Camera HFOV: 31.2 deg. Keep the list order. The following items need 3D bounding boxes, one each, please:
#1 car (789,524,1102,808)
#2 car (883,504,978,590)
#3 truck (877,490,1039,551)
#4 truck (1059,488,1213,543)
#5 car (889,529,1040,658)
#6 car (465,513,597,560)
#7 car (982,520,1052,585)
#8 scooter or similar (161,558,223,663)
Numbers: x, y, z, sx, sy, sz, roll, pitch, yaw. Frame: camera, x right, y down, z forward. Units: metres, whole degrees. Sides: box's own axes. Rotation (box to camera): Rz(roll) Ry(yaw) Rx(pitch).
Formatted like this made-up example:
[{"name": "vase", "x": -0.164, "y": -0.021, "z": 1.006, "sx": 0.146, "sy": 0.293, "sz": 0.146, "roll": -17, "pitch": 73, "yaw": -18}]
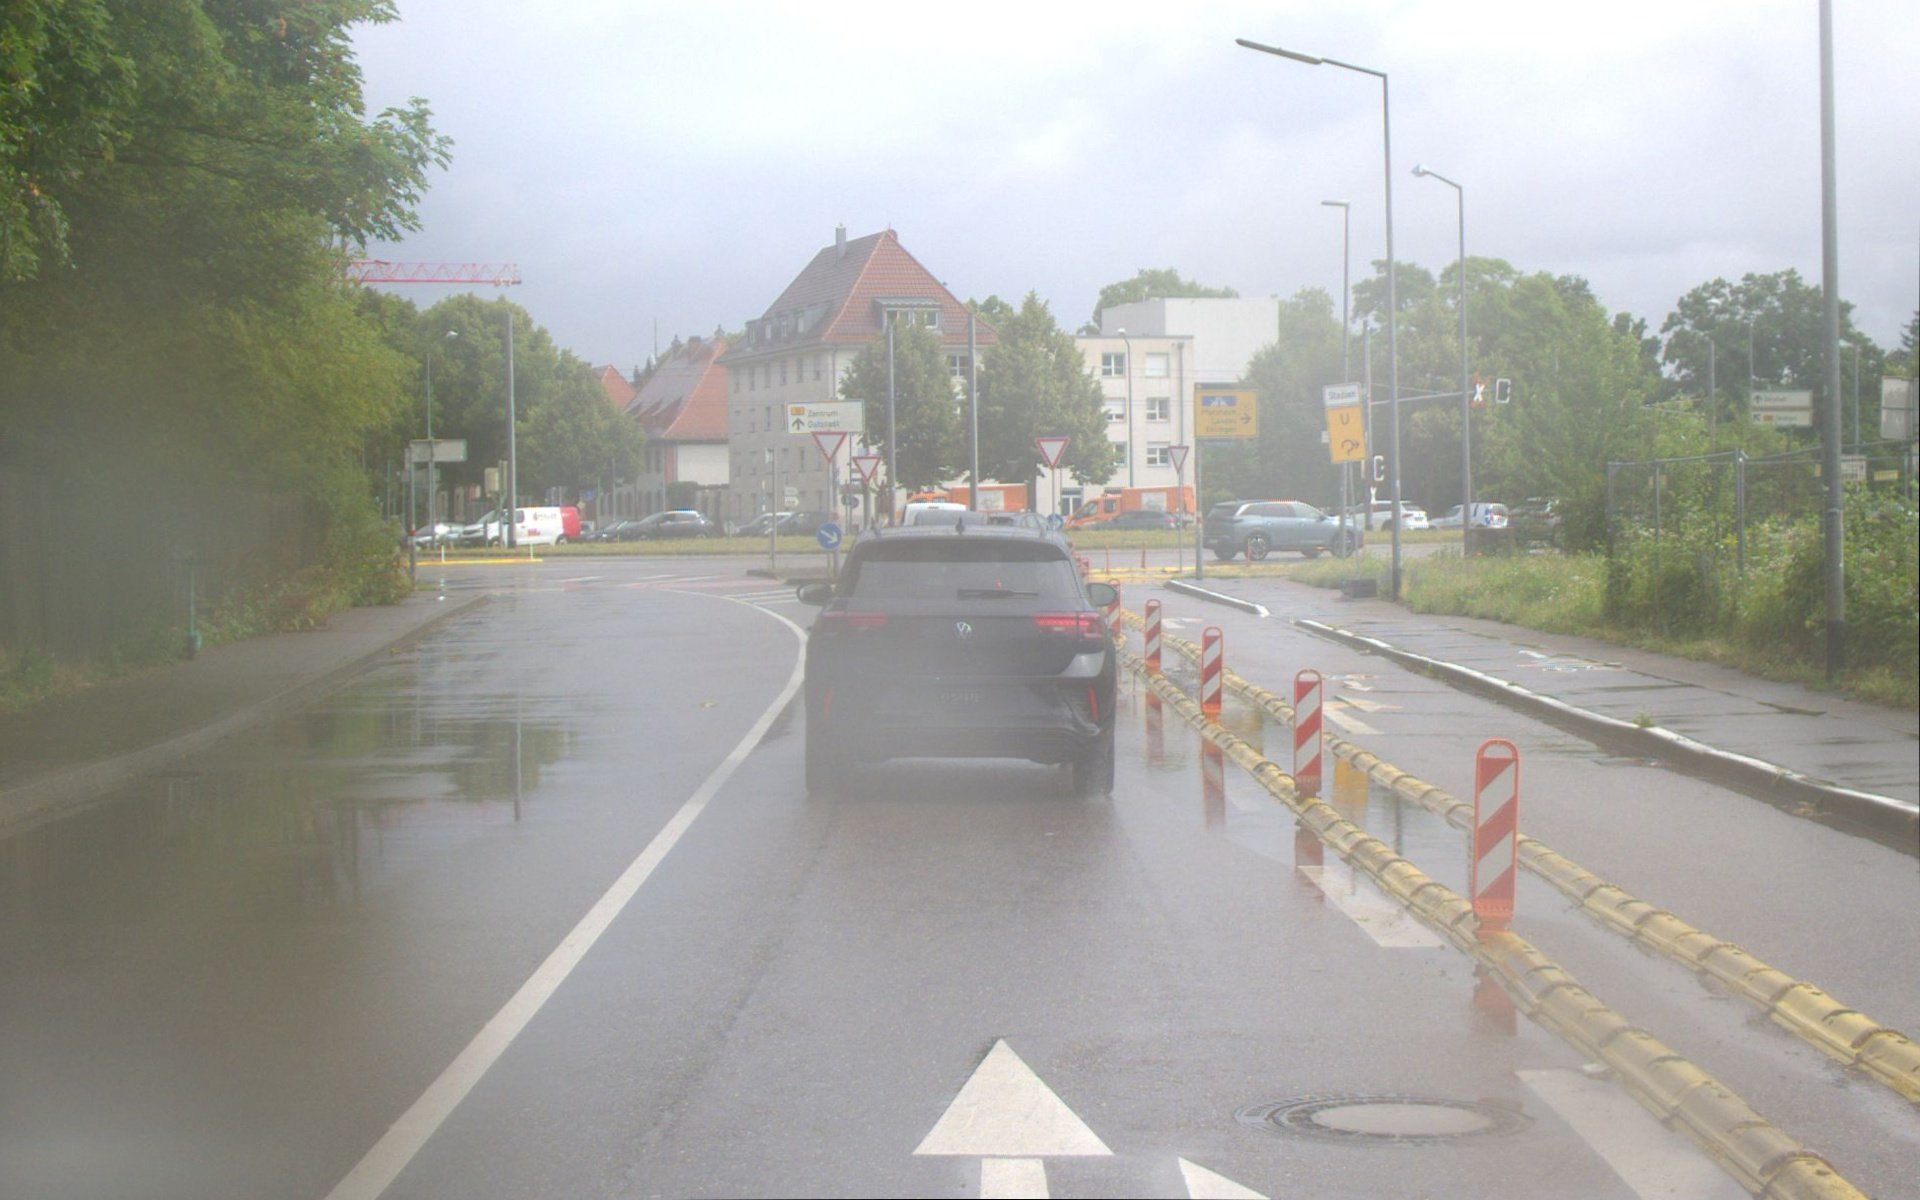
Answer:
[{"name": "car", "x": -0.170, "y": 0.336, "z": 20.893, "sx": 1.708, "sy": 1.568, "sz": 3.683, "roll": 0, "pitch": 1, "yaw": -3}, {"name": "car", "x": -0.676, "y": -1.172, "z": 74.631, "sx": 1.864, "sy": 1.803, "sz": 4.404, "roll": 0, "pitch": 1, "yaw": -3}, {"name": "truck", "x": -0.080, "y": -3.518, "z": 151.451, "sx": 7.066, "sy": 2.641, "sz": 2.330, "roll": 0, "pitch": 1, "yaw": 2}, {"name": "truck", "x": 8.131, "y": -3.898, "z": 158.834, "sx": 6.707, "sy": 2.434, "sz": 2.432, "roll": -1, "pitch": 1, "yaw": 16}, {"name": "car", "x": 0.017, "y": -0.115, "z": 42.850, "sx": 1.735, "sy": 1.509, "sz": 3.604, "roll": 0, "pitch": 1, "yaw": -2}, {"name": "car", "x": -17.897, "y": -2.645, "z": 143.632, "sx": 5.116, "sy": 1.869, "sz": 1.894, "roll": -2, "pitch": 2, "yaw": -32}, {"name": "car", "x": 1.468, "y": -1.255, "z": 89.251, "sx": 1.665, "sy": 1.639, "sz": 3.955, "roll": 0, "pitch": 1, "yaw": -1}, {"name": "scooter or similar", "x": -8.720, "y": 0.110, "z": 39.068, "sx": 0.562, "sy": 1.158, "sz": 1.209, "roll": -1, "pitch": 1, "yaw": -8}]
